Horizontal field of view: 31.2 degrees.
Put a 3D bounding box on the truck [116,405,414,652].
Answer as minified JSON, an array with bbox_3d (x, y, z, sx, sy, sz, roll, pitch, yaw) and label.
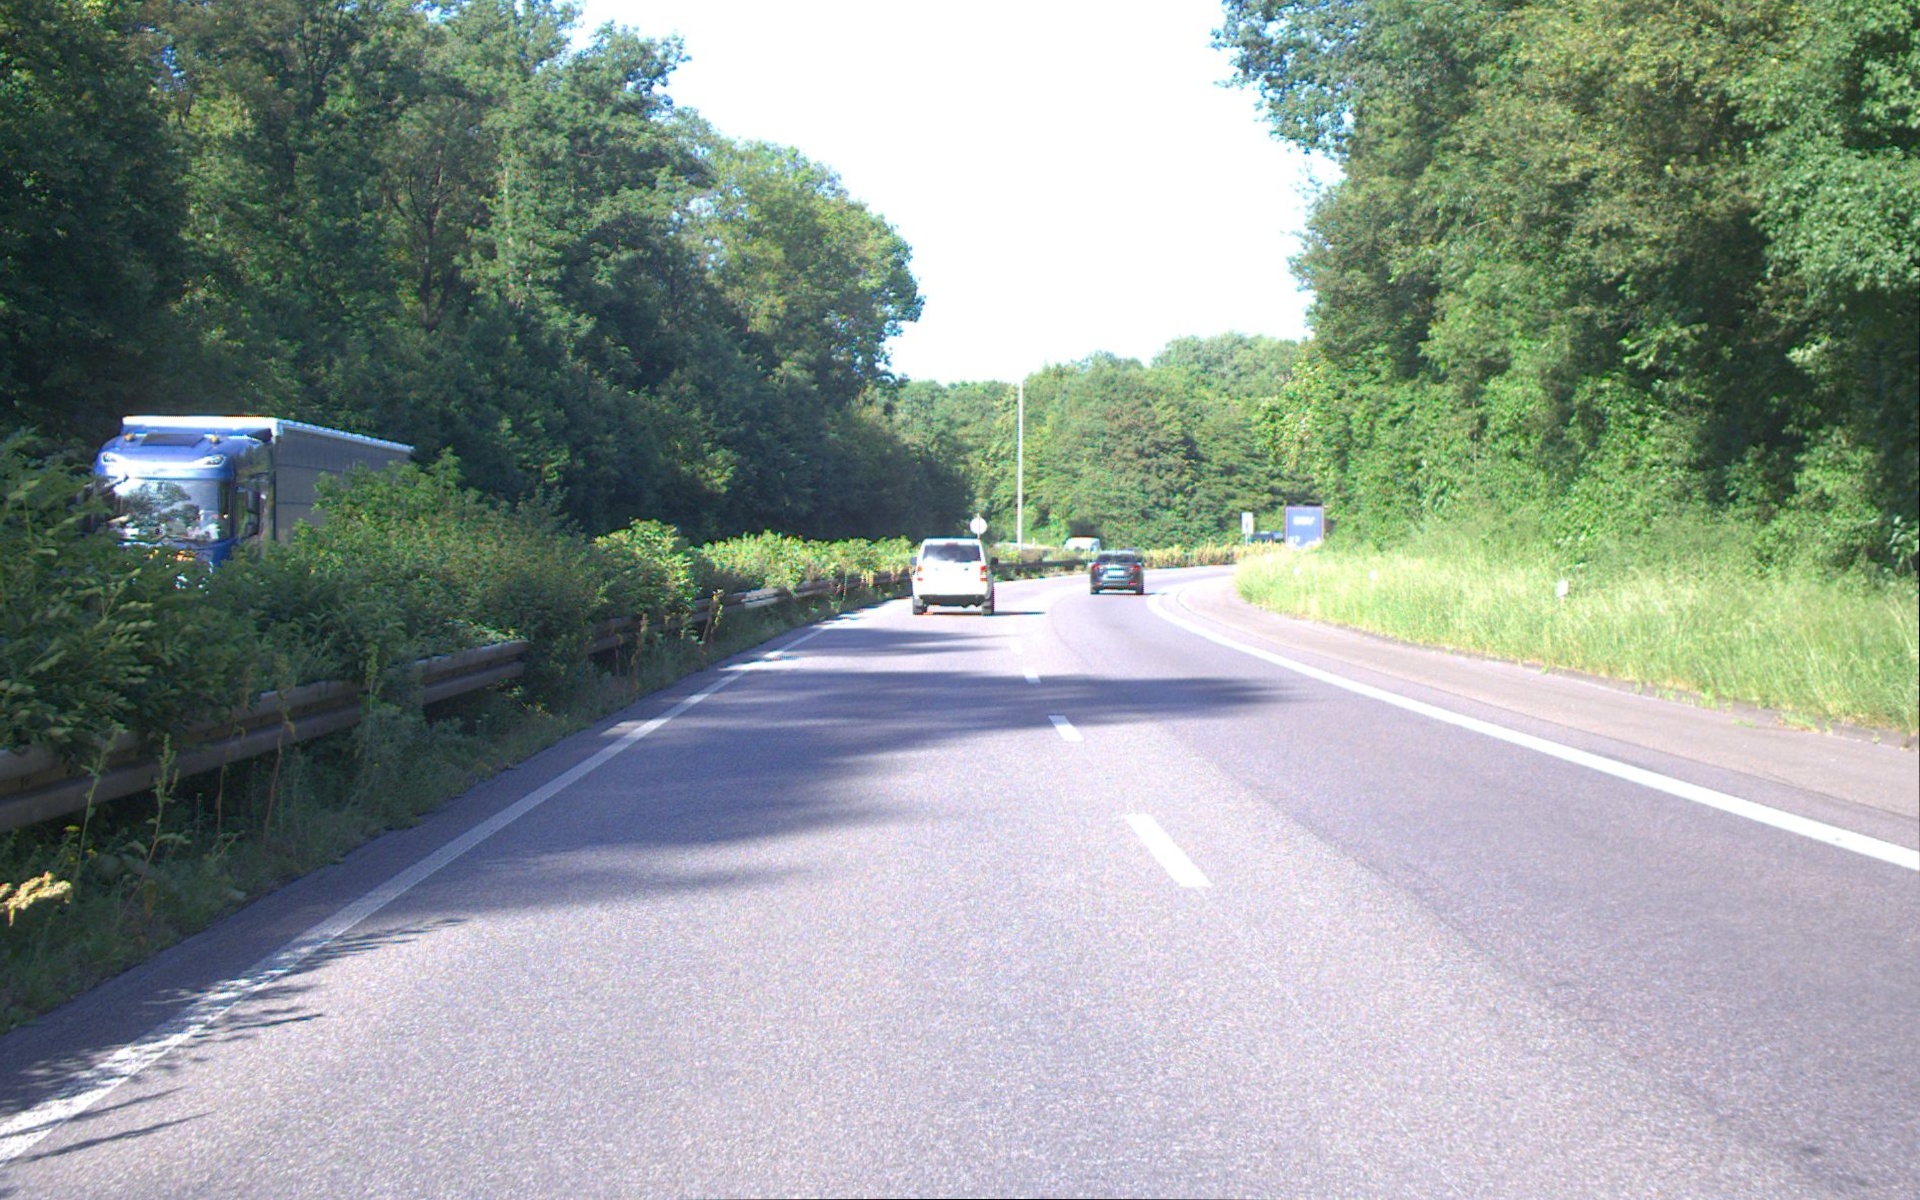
[{"bbox_3d":[-12.675,-1.256,64.170,2.707,4.082,14.022,1,1,0],"label":"truck"}]

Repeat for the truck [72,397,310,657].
[{"bbox_3d":[-12.666,-1.184,57.038,2.716,4.082,5.437,1,1,0],"label":"truck"}]

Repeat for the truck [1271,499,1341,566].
[{"bbox_3d":[23.189,-4.466,230.111,3.736,4.328,9.300,1,1,11],"label":"truck"}]

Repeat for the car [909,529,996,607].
[{"bbox_3d":[-0.208,-0.756,80.709,1.951,1.776,4.588,1,1,-1],"label":"car"}]

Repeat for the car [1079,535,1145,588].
[{"bbox_3d":[5.196,-1.321,117.878,1.951,1.776,4.588,1,1,-1],"label":"car"}]
